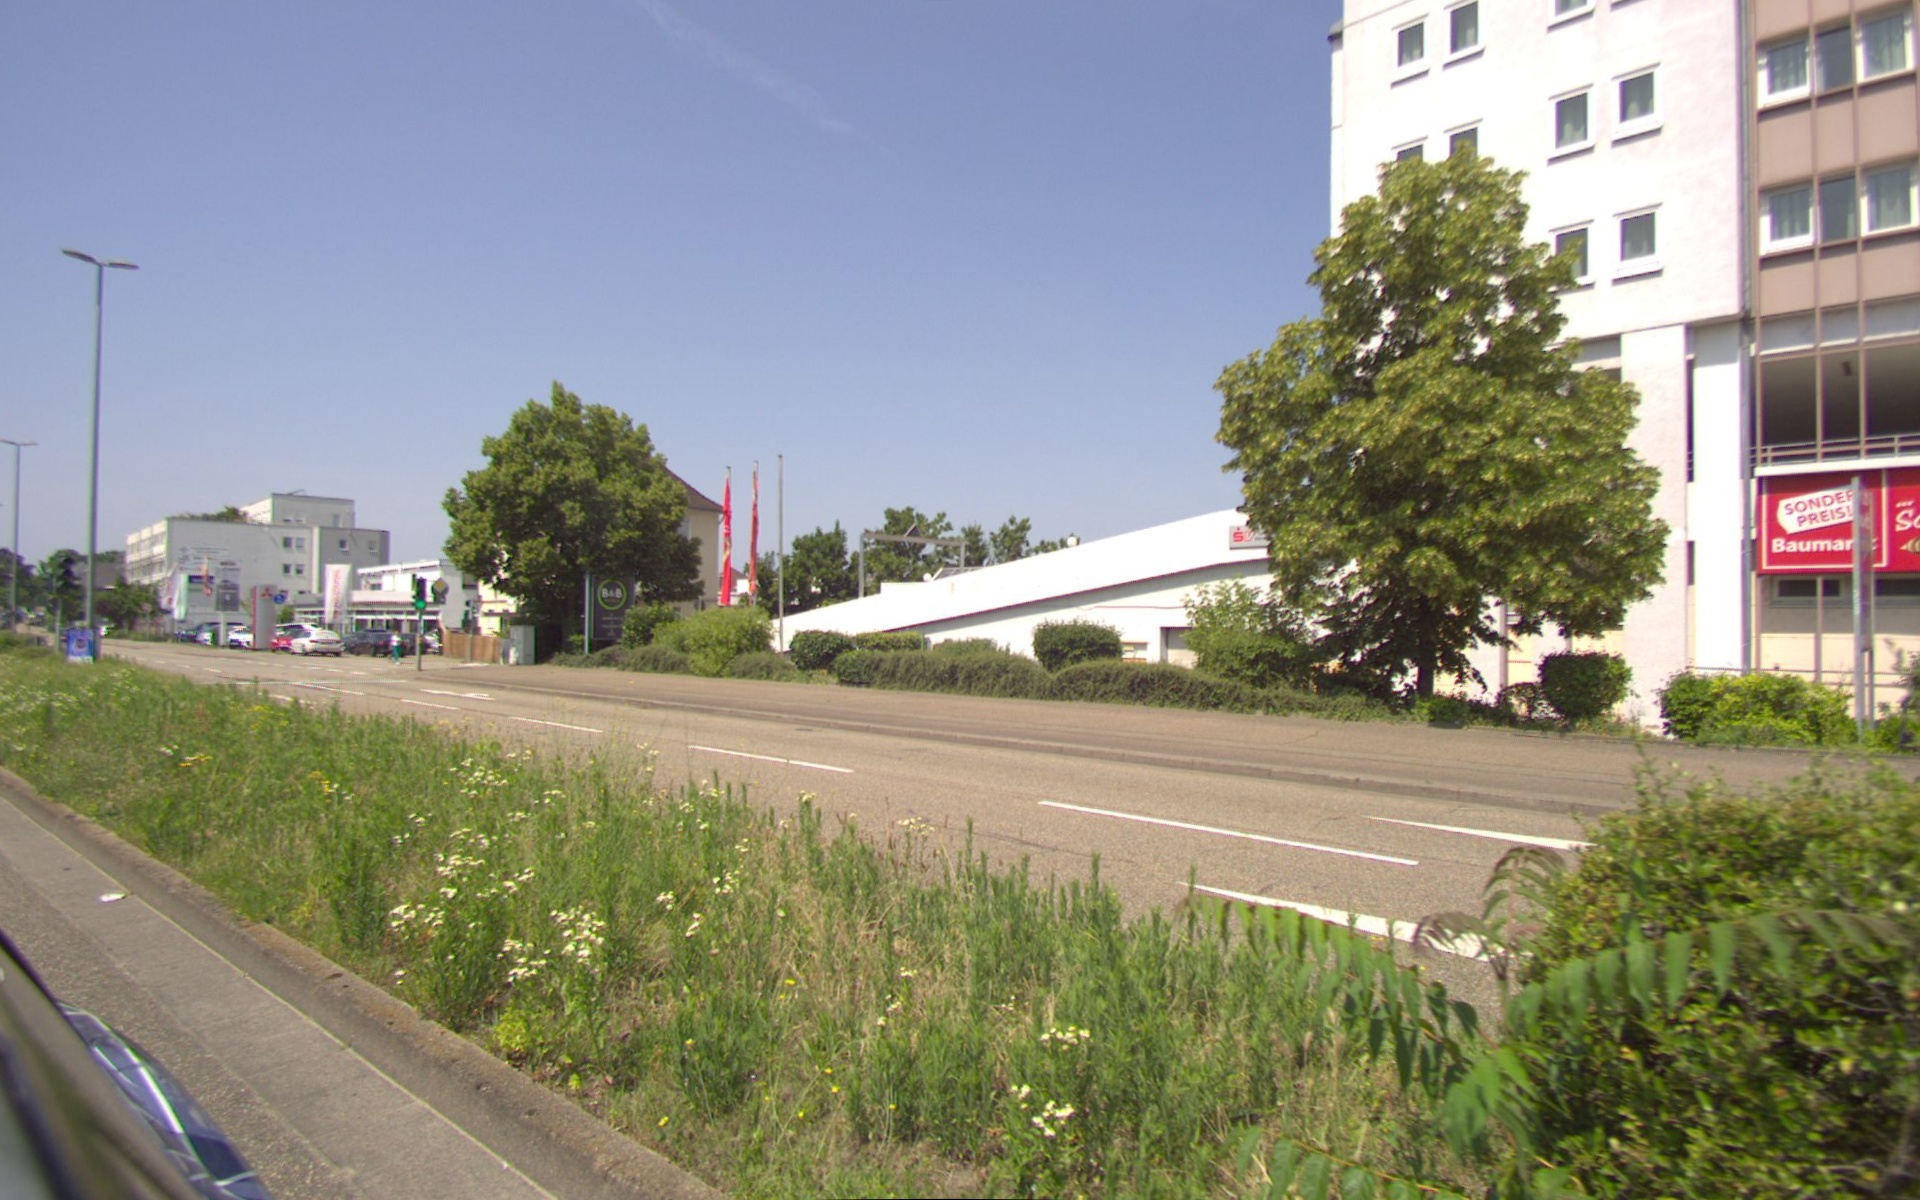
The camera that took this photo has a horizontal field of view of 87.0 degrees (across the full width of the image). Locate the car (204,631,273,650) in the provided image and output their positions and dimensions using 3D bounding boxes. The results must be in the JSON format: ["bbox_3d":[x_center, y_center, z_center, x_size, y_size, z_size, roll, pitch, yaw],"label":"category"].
[{"bbox_3d":[-54.583,3.043,76.588,1.860,1.405,3.943,-2,-3,43],"label":"car"}]

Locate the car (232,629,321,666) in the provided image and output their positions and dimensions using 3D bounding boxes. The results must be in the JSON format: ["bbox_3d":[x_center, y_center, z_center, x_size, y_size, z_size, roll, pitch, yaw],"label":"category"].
[{"bbox_3d":[-45.745,3.141,67.827,1.760,1.721,4.500,-2,7,43],"label":"car"}]

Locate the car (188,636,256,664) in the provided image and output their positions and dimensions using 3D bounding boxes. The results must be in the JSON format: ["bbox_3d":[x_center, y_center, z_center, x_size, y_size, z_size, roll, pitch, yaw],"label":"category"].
[{"bbox_3d":[-59.183,4.035,81.159,1.760,1.579,3.946,-2,-13,43],"label":"car"}]

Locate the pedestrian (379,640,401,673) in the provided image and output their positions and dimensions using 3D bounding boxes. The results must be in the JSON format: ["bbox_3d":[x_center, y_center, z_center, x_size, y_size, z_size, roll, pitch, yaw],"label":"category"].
[{"bbox_3d":[-29.969,2.961,53.216,0.732,1.760,1.034,2,-3,-43],"label":"pedestrian"}]

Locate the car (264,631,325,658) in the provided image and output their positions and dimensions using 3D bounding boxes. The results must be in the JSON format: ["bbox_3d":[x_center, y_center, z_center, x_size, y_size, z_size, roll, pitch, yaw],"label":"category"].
[{"bbox_3d":[-42.646,2.865,64.923,1.810,1.655,4.187,1,-2,-11],"label":"car"}]

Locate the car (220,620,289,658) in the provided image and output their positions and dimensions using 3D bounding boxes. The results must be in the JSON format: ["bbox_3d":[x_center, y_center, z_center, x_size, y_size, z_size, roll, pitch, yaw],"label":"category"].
[{"bbox_3d":[-51.303,2.823,73.685,1.738,1.633,4.000,0,14,6],"label":"car"}]

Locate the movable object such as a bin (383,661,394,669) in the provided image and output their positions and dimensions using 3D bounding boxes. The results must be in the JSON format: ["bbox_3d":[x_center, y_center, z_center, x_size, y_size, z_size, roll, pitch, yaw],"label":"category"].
[{"bbox_3d":[-30.187,3.423,53.471,0.411,0.375,0.507,2,-3,-44],"label":"movable object such as a bin"}]

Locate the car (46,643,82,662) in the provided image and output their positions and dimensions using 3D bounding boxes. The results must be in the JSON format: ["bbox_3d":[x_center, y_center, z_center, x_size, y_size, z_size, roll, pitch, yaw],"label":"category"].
[{"bbox_3d":[-76.459,4.465,86.314,4.503,1.497,1.971,-2,-3,44],"label":"car"}]

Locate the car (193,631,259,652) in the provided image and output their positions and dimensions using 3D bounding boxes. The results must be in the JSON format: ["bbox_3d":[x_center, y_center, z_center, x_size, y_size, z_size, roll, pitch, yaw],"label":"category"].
[{"bbox_3d":[-57.577,3.281,79.387,3.940,1.621,1.927,2,-3,-44],"label":"car"}]

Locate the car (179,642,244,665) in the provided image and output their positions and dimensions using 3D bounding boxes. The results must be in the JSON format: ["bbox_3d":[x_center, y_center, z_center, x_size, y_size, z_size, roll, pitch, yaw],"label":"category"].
[{"bbox_3d":[-61.583,4.436,83.259,1.760,1.621,3.943,-2,-7,43],"label":"car"}]

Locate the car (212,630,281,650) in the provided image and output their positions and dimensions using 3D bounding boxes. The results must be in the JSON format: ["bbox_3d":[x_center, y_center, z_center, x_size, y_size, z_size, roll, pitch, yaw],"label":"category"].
[{"bbox_3d":[-53.121,2.976,75.401,1.760,1.478,3.943,-2,-3,43],"label":"car"}]

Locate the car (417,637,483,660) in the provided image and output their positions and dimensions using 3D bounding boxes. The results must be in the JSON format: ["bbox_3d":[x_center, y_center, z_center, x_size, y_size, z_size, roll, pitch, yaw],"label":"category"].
[{"bbox_3d":[-37.583,3.547,74.577,1.866,1.627,3.942,-2,-3,44],"label":"car"}]

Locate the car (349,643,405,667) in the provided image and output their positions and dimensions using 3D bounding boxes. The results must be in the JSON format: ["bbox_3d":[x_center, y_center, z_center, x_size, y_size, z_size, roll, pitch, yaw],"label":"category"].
[{"bbox_3d":[-34.324,3.205,59.536,3.999,1.362,1.714,-2,-3,42],"label":"car"}]

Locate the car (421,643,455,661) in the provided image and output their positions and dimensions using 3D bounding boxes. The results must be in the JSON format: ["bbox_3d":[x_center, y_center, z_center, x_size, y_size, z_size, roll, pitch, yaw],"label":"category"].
[{"bbox_3d":[-37.113,3.702,72.033,1.622,1.261,4.012,1,-3,-19],"label":"car"}]

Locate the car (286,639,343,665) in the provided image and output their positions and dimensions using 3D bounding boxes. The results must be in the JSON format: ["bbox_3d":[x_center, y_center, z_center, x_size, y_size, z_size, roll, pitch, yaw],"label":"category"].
[{"bbox_3d":[-37.057,2.982,58.059,1.755,1.421,4.762,4,-4,-44],"label":"car"}]

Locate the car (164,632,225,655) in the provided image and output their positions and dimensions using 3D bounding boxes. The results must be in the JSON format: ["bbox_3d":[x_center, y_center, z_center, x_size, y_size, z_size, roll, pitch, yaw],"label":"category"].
[{"bbox_3d":[-65.919,3.733,87.178,2.000,1.896,3.943,-2,-3,43],"label":"car"}]
